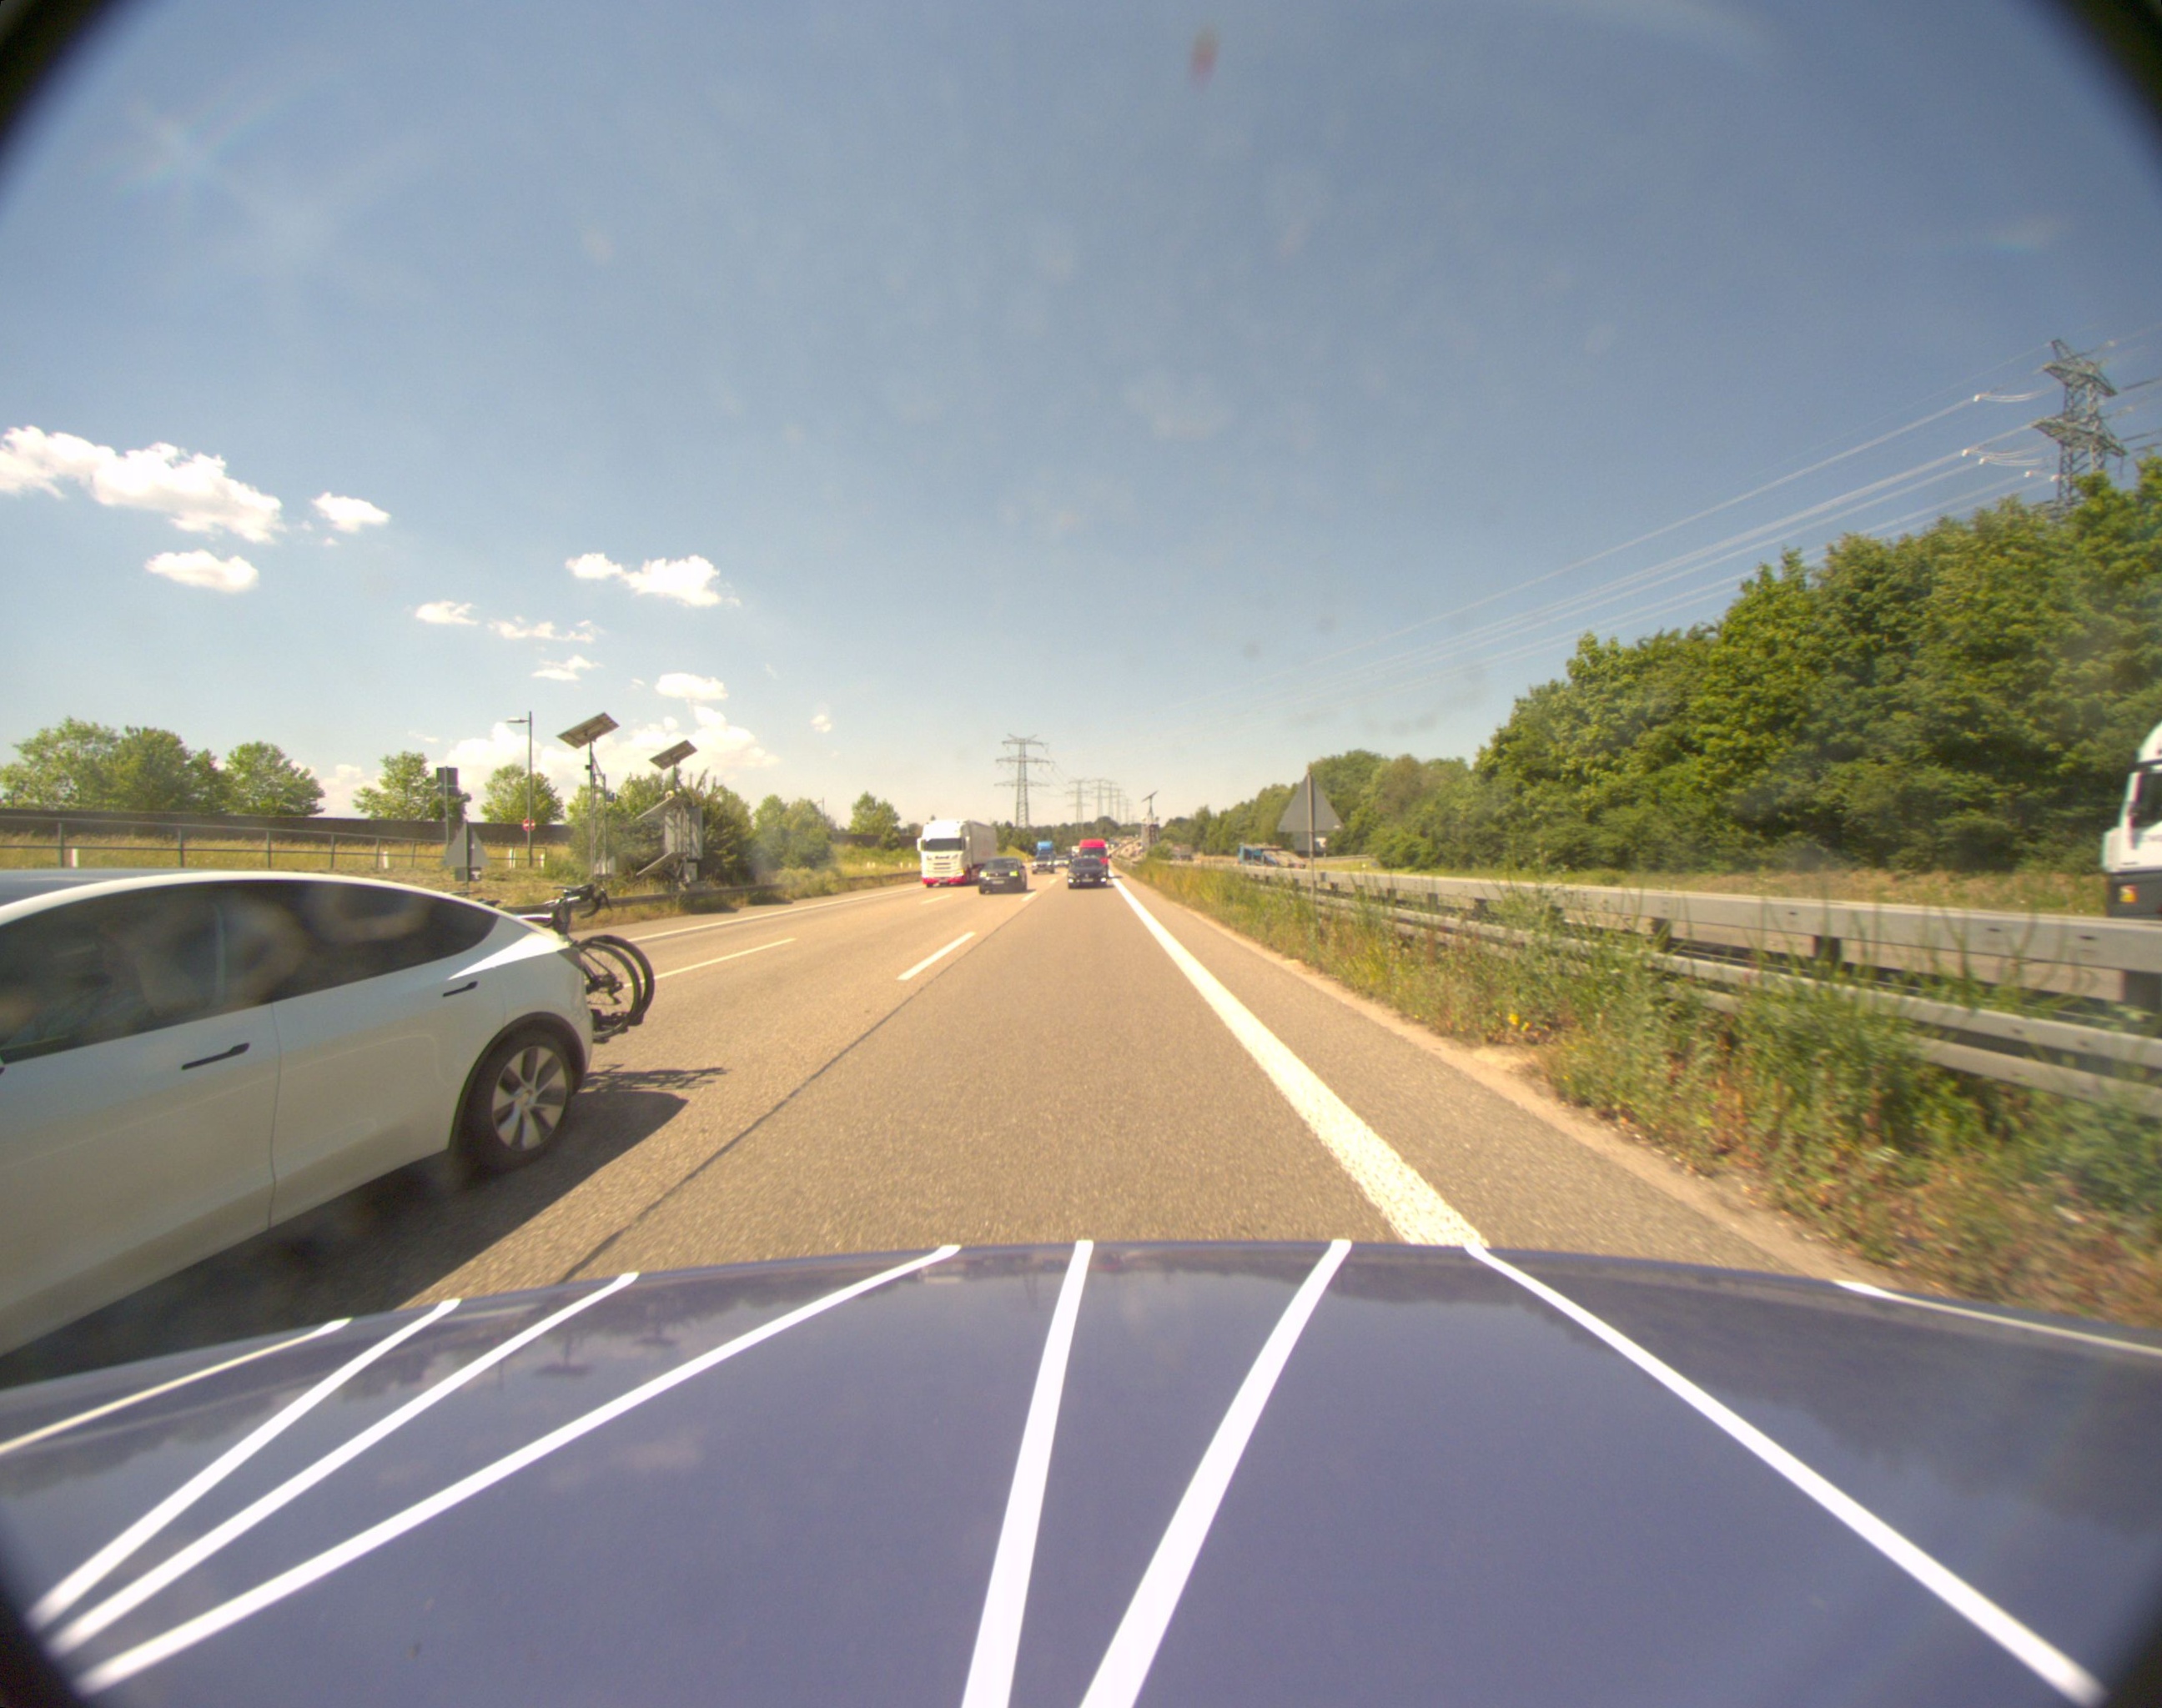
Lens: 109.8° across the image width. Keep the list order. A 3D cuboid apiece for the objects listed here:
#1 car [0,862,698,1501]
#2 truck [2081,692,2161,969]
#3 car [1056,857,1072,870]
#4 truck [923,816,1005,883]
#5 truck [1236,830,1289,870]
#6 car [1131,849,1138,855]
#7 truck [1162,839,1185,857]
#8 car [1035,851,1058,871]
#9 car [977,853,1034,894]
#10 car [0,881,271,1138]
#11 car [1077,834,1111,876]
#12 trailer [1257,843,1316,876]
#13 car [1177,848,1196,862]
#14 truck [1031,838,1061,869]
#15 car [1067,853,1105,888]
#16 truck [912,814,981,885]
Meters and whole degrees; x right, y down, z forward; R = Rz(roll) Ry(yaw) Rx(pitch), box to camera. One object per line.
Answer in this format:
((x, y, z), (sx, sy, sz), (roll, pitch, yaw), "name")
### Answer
((-3.871, 0.933, 2.855), (1.955, 1.627, 5.599), (-2, 1, 0), "car")
((17.306, -0.327, 6.232), (3.462, 3.971, 11.122), (0, 0, -1), "truck")
((-2.144, 1.178, 97.320), (1.878, 1.591, 3.688), (0, 1, 2), "car")
((-7.552, -0.308, 51.375), (3.076, 3.885, 12.504), (-2, 0, 2), "truck")
((18.482, -0.418, 78.078), (3.003, 3.780, 10.788), (0, 0, 1), "truck")
((15.378, -0.563, 219.162), (1.728, 1.517, 4.000), (1, 0, 1), "car")
((25.810, -1.545, 213.589), (3.005, 4.314, 14.541), (-1, -2, -7), "truck")
((-3.063, 0.594, 68.157), (1.749, 1.691, 4.089), (0, 1, 2), "car")
((-3.320, 0.827, 34.161), (1.955, 1.636, 4.047), (-2, 1, 2), "car")
((-8.128, 1.108, 4.406), (1.873, 1.627, 4.585), (-2, 1, 0), "car")
((0.873, 0.030, 49.011), (2.100, 2.598, 4.496), (0, 1, 2), "car")
((18.292, 0.410, 68.241), (3.153, 2.624, 8.531), (-2, 1, 2), "trailer")
((13.014, 0.160, 94.147), (1.728, 1.647, 4.860), (1, 0, 0), "car")
((-5.961, -0.175, 131.769), (3.797, 4.971, 14.924), (-2, 1, 2), "truck")
((0.299, 0.744, 36.455), (1.735, 1.535, 3.750), (0, 1, 2), "car")
((-7.789, -0.257, 44.342), (3.076, 3.885, 3.847), (-2, 1, 2), "truck")
